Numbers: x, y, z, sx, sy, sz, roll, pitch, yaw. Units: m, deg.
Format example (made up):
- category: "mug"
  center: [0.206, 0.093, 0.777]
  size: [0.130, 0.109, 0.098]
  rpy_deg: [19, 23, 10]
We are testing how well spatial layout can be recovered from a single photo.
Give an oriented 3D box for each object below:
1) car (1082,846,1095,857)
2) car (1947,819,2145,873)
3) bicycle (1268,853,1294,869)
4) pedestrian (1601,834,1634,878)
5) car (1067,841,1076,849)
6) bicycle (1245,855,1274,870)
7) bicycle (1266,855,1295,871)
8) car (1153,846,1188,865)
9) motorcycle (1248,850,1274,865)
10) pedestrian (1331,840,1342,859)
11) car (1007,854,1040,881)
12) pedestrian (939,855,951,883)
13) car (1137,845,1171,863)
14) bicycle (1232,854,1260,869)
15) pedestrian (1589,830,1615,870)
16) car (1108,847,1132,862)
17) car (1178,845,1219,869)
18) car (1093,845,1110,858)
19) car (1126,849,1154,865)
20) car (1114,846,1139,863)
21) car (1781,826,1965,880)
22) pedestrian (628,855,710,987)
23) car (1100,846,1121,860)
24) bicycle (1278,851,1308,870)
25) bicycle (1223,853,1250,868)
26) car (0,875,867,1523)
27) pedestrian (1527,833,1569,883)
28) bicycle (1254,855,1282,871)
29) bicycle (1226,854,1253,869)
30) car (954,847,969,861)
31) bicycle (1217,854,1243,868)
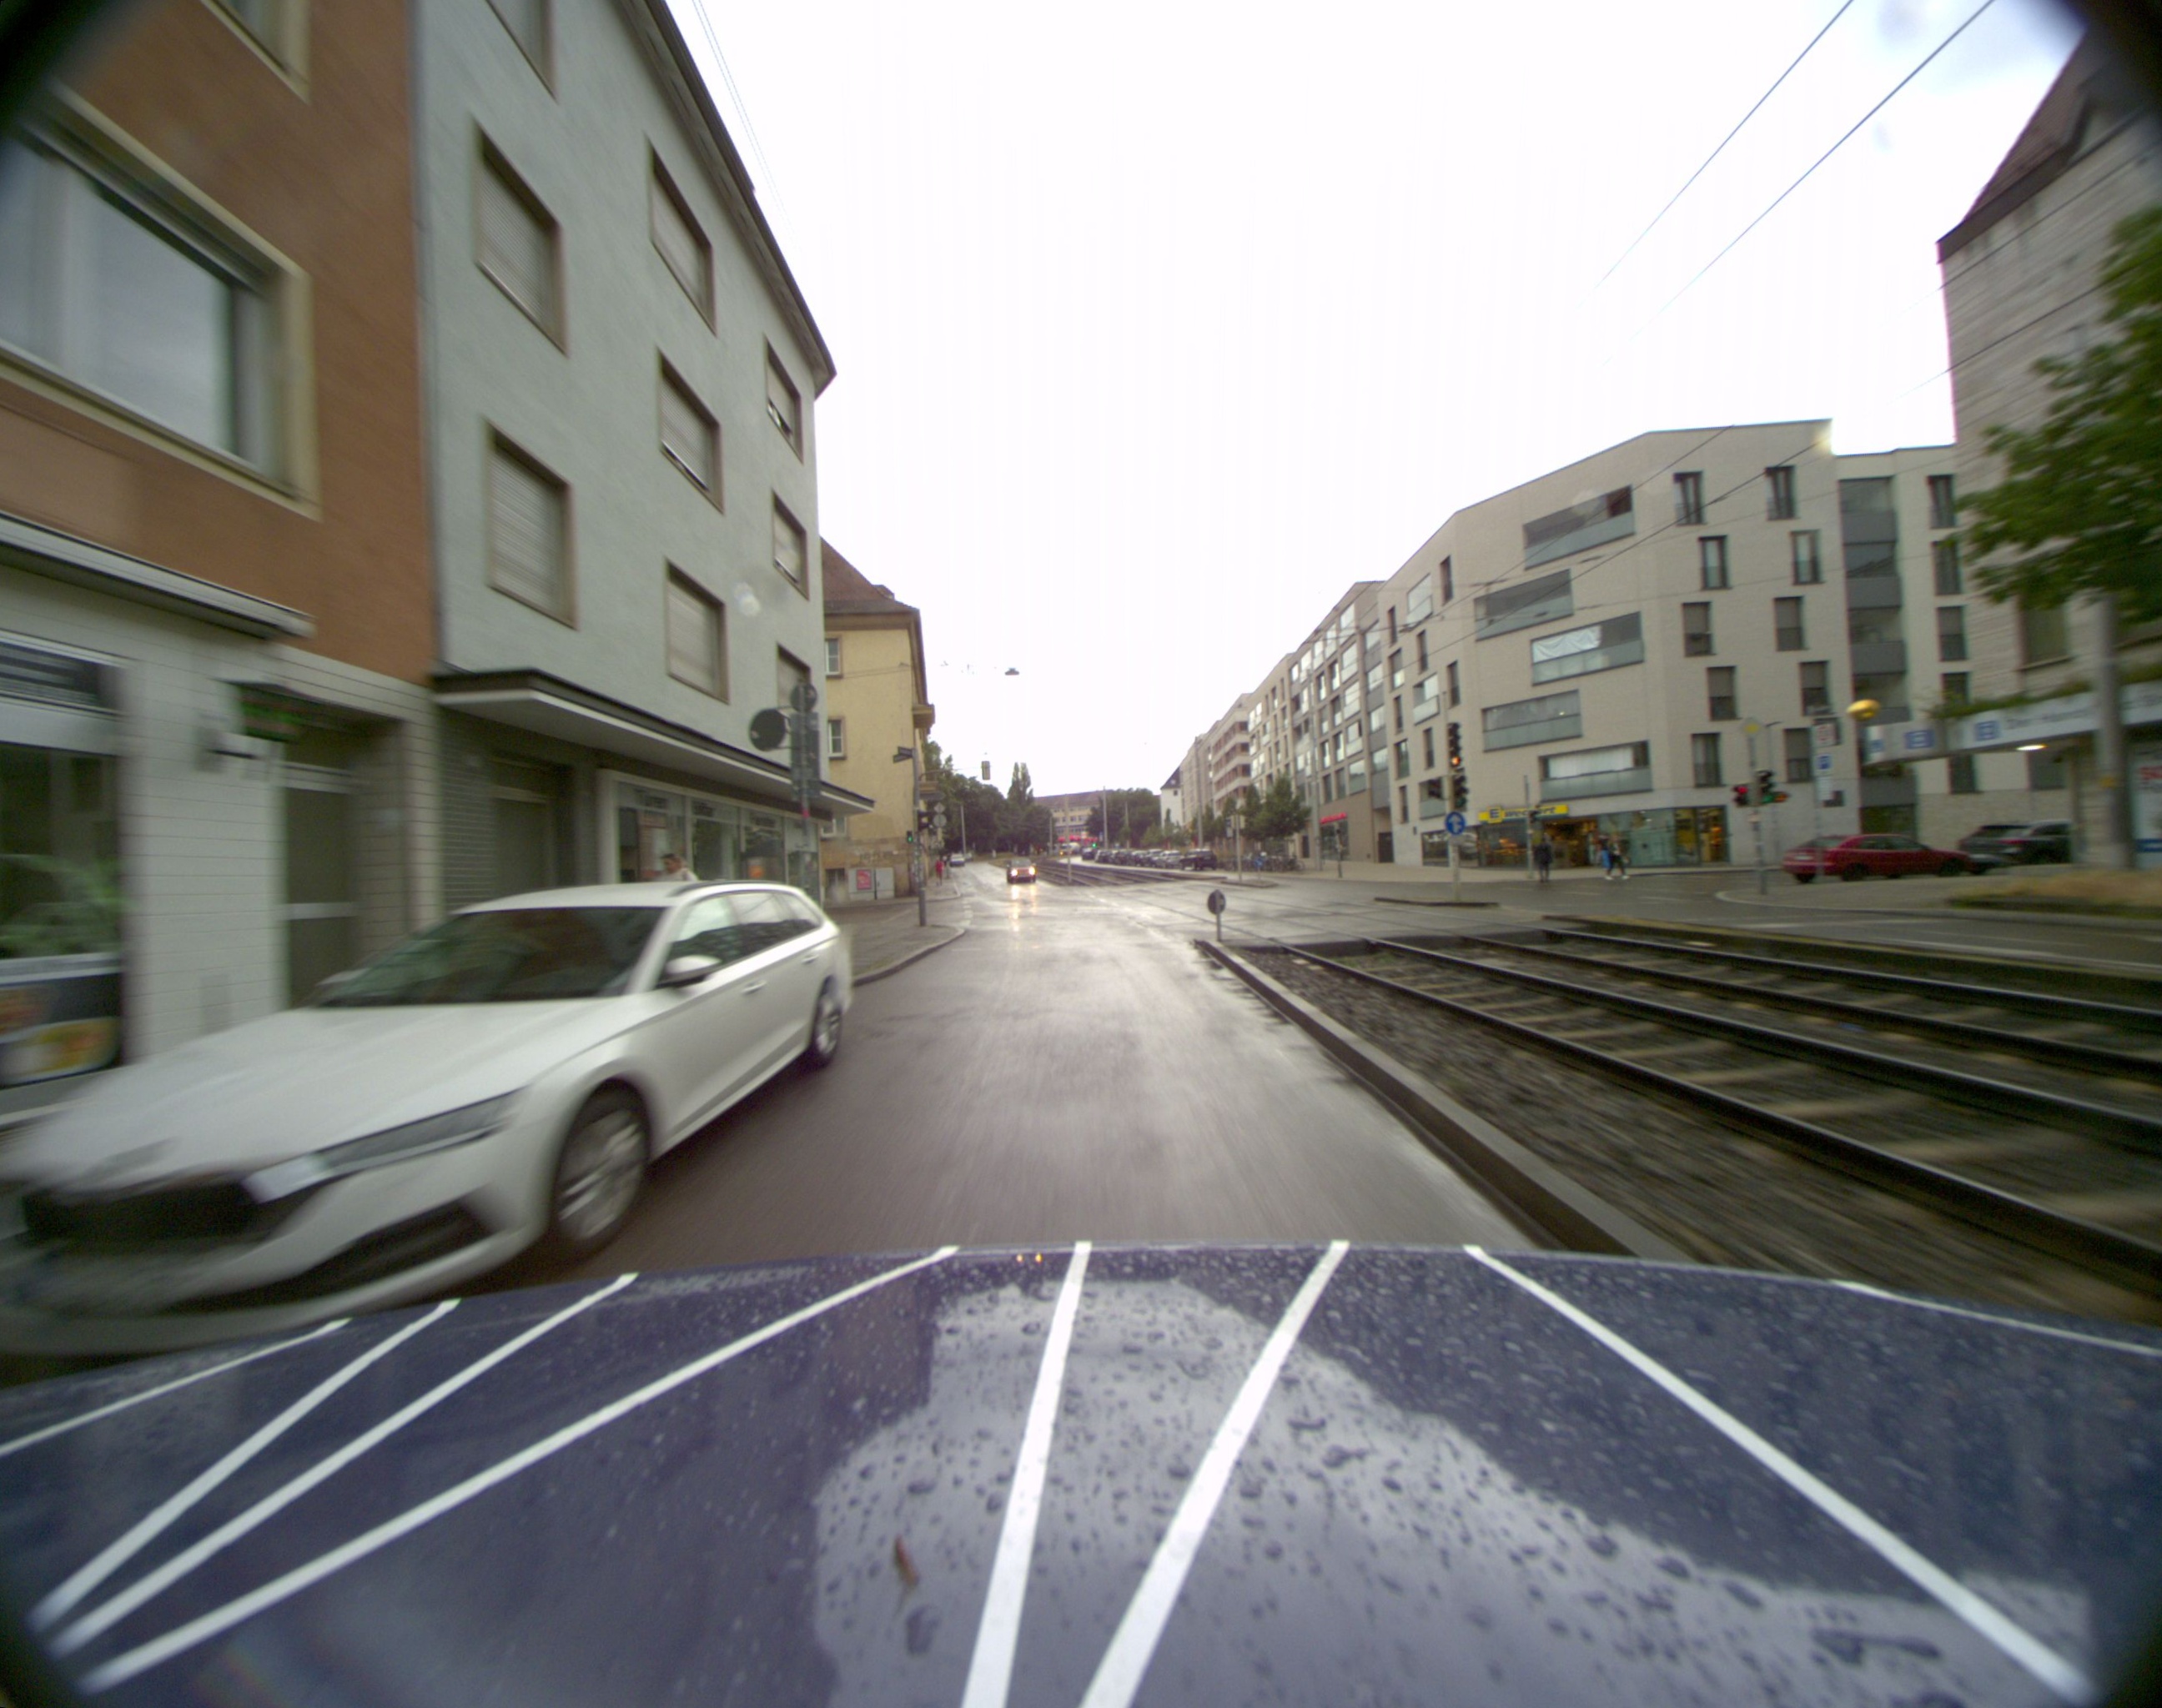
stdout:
- category: "car"
  center: [1.098, -0.411, 113.448]
  size: [1.655, 1.456, 3.668]
  rpy_deg: [-5, 2, -1]
- category: "car"
  center: [27.704, -0.237, 21.900]
  size: [3.703, 1.310, 1.593]
  rpy_deg: [-3, 2, 0]
- category: "bicycle"
  center: [12.852, 0.451, 48.798]
  size: [1.791, 0.912, 0.386]
  rpy_deg: [-5, 2, -27]
- category: "pedestrian"
  center: [19.833, 0.068, 28.080]
  size: [0.649, 1.560, 0.775]
  rpy_deg: [-7, 3, -37]
- category: "car"
  center: [-2.450, -2.254, 190.452]
  size: [1.667, 1.598, 3.808]
  rpy_deg: [-5, 2, 5]
- category: "bicycle"
  center: [11.854, 0.556, 50.453]
  size: [1.790, 0.912, 0.387]
  rpy_deg: [-4, 2, -14]
- category: "bicycle"
  center: [12.625, 0.551, 48.054]
  size: [1.789, 0.871, 0.387]
  rpy_deg: [-4, 2, -12]
- category: "car"
  center: [7.576, 0.130, 64.964]
  size: [1.685, 1.456, 4.324]
  rpy_deg: [-4, 2, -11]
- category: "motorcycle"
  center: [13.201, 0.260, 55.758]
  size: [1.765, 1.037, 0.542]
  rpy_deg: [-2, 3, -13]
- category: "pedestrian"
  center: [20.132, -0.370, 59.850]
  size: [0.540, 1.441, 0.803]
  rpy_deg: [-5, 2, 3]
- category: "car"
  center: [-3.702, 0.847, 48.626]
  size: [1.595, 1.456, 3.666]
  rpy_deg: [-5, 2, -11]
- category: "pedestrian"
  center: [-8.633, 0.942, 48.286]
  size: [0.749, 1.754, 0.817]
  rpy_deg: [0, 1, -11]
- category: "car"
  center: [6.684, 0.005, 69.914]
  size: [1.686, 1.521, 4.044]
  rpy_deg: [-4, 2, -15]
- category: "bicycle"
  center: [11.246, 0.505, 51.761]
  size: [1.790, 0.912, 0.387]
  rpy_deg: [-4, 2, -14]
- category: "pedestrian"
  center: [22.772, -0.181, 33.200]
  size: [0.706, 1.701, 0.584]
  rpy_deg: [-4, 2, -23]
- category: "car"
  center: [4.229, -0.001, 83.869]
  size: [1.685, 1.496, 3.924]
  rpy_deg: [-4, 2, -11]
- category: "car"
  center: [8.998, 0.194, 58.377]
  size: [1.685, 1.595, 4.324]
  rpy_deg: [-4, 2, -11]
- category: "car"
  center: [2.572, -0.308, 94.258]
  size: [1.651, 1.496, 3.778]
  rpy_deg: [-4, 2, -4]
- category: "car"
  center: [5.756, 0.249, 74.391]
  size: [1.685, 1.373, 4.028]
  rpy_deg: [-4, 2, -11]
- category: "car"
  center: [4.716, 0.018, 79.473]
  size: [1.685, 1.555, 3.924]
  rpy_deg: [-4, 2, -11]
- category: "car"
  center: [22.964, -0.059, 22.128]
  size: [3.703, 1.310, 1.593]
  rpy_deg: [-3, 2, 0]
- category: "pedestrian"
  center: [-5.128, 0.815, 9.505]
  size: [0.690, 1.562, 0.762]
  rpy_deg: [-1, -1, -11]
- category: "car"
  center: [3.423, -0.115, 88.930]
  size: [1.685, 1.496, 4.402]
  rpy_deg: [-4, 2, -5]
- category: "bicycle"
  center: [13.102, 0.397, 46.955]
  size: [1.790, 0.975, 0.440]
  rpy_deg: [-5, 2, -14]
- category: "bicycle"
  center: [10.993, 0.442, 53.731]
  size: [1.790, 0.912, 0.387]
  rpy_deg: [-3, 2, -14]
- category: "car"
  center: [-2.818, 0.988, 4.275]
  size: [1.806, 1.447, 4.585]
  rpy_deg: [-2, 1, 1]
- category: "pedestrian"
  center: [17.476, 0.147, 28.460]
  size: [0.933, 1.819, 0.958]
  rpy_deg: [-2, 2, -8]
- category: "bicycle"
  center: [12.190, 0.597, 49.521]
  size: [1.790, 0.912, 0.387]
  rpy_deg: [-3, 2, -18]
- category: "bicycle"
  center: [11.004, 0.532, 52.636]
  size: [1.790, 0.912, 0.387]
  rpy_deg: [-3, 2, -14]
- category: "car"
  center: [-16.179, -0.024, 102.439]
  size: [1.727, 1.676, 3.862]
  rpy_deg: [-5, 2, -11]
- category: "bicycle"
  center: [10.675, 0.489, 54.583]
  size: [1.790, 0.912, 0.387]
  rpy_deg: [-4, 2, -14]
